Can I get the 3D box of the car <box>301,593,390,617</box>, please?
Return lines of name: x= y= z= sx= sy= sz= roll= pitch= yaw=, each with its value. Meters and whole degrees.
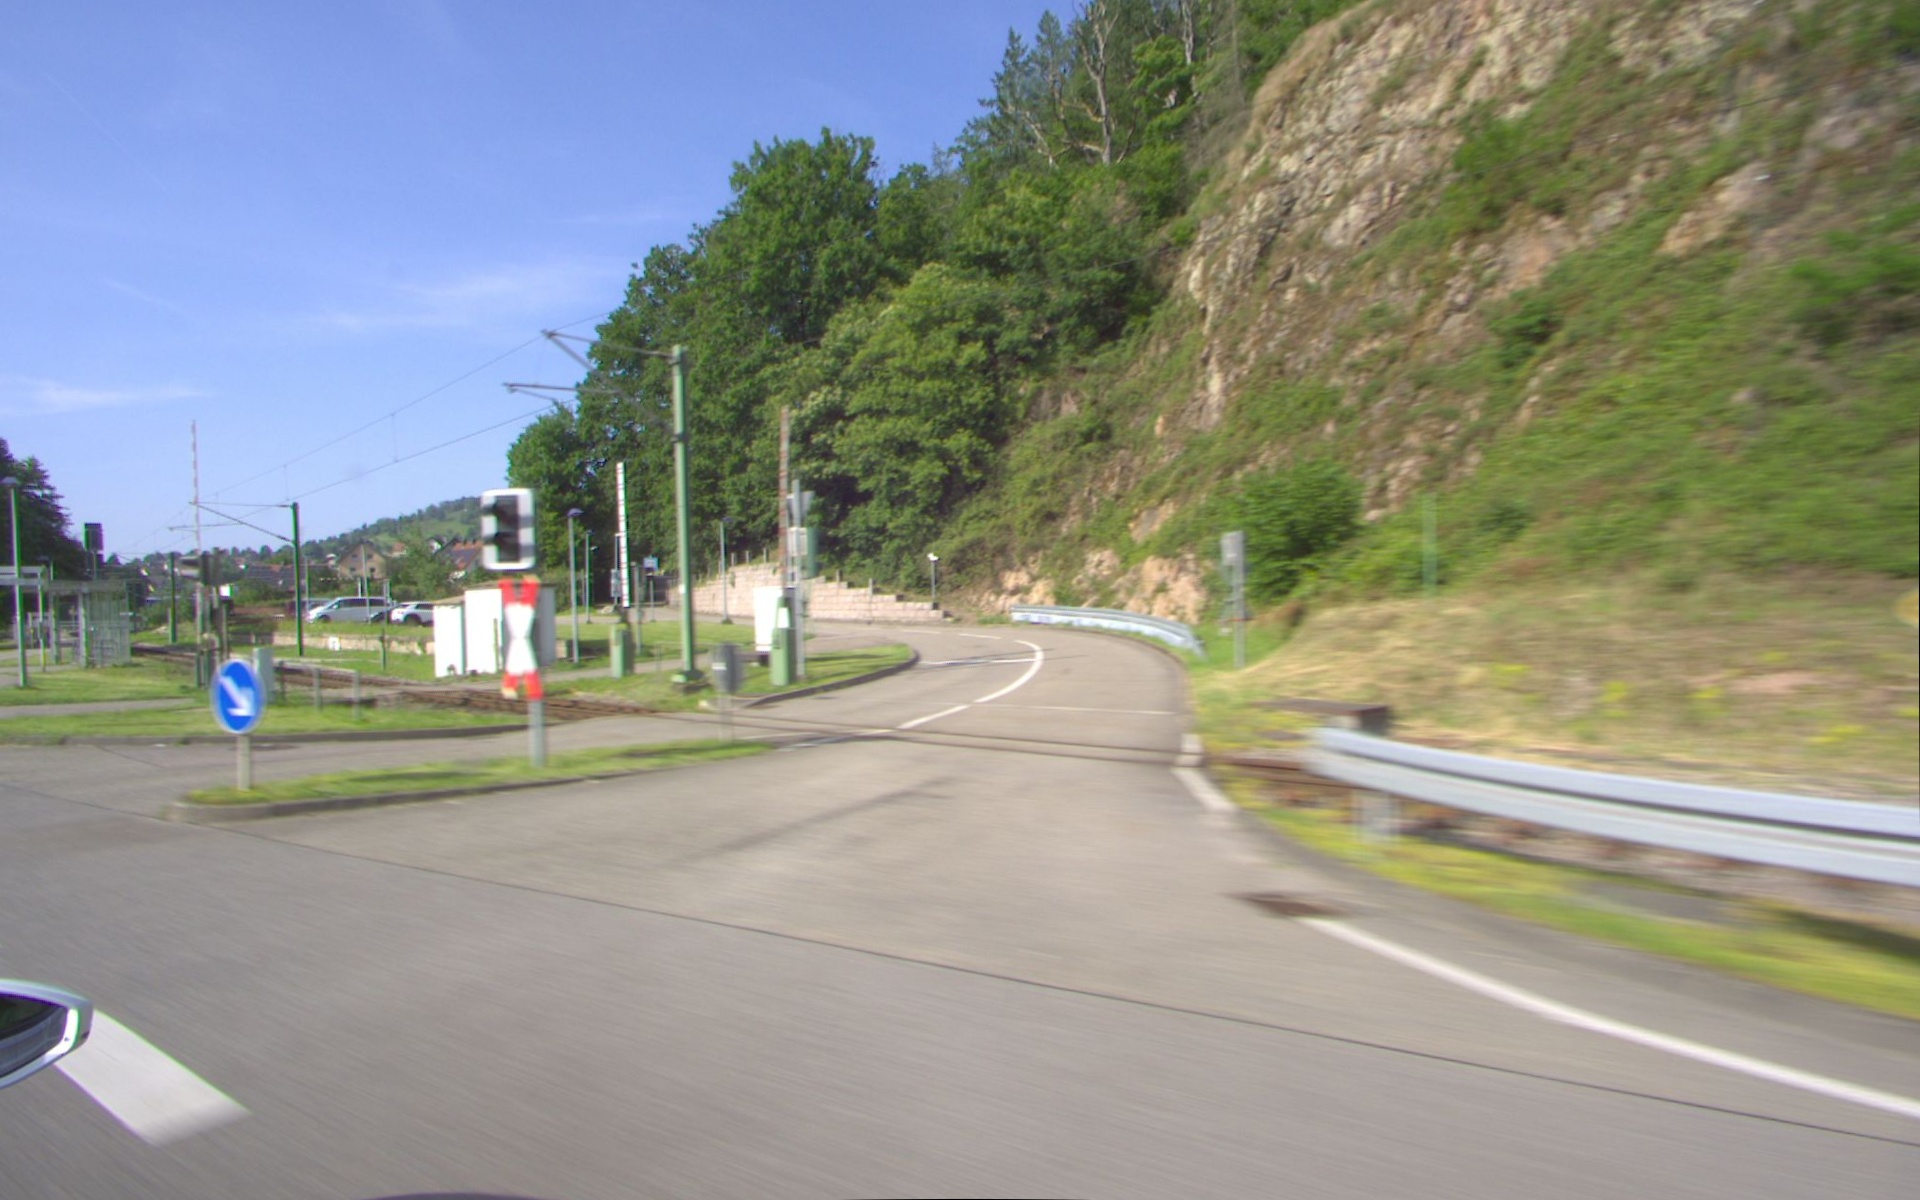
car: x=-42.116 y=0.346 z=68.702 sx=4.919 sy=1.608 sz=2.120 roll=0 pitch=0 yaw=-44

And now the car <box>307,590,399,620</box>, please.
car: x=-40.557 y=0.338 z=66.971 sx=4.919 sy=1.969 sz=2.120 roll=0 pitch=0 yaw=-44

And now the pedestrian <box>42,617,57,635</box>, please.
pedestrian: x=-63.288 y=1.812 z=69.583 sx=0.629 sy=1.177 sz=0.721 roll=-3 pitch=1 yaw=-35

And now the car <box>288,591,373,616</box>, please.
car: x=-45.629 y=0.247 z=72.657 sx=4.919 sy=1.713 sz=1.917 roll=0 pitch=0 yaw=-44

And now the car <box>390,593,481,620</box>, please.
car: x=-28.669 y=0.367 z=54.763 sx=4.069 sy=1.416 sz=1.792 roll=0 pitch=0 yaw=-44

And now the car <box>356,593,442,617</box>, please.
car: x=-33.823 y=0.295 z=60.434 sx=4.237 sy=1.361 sz=1.813 roll=0 pitch=0 yaw=-44
